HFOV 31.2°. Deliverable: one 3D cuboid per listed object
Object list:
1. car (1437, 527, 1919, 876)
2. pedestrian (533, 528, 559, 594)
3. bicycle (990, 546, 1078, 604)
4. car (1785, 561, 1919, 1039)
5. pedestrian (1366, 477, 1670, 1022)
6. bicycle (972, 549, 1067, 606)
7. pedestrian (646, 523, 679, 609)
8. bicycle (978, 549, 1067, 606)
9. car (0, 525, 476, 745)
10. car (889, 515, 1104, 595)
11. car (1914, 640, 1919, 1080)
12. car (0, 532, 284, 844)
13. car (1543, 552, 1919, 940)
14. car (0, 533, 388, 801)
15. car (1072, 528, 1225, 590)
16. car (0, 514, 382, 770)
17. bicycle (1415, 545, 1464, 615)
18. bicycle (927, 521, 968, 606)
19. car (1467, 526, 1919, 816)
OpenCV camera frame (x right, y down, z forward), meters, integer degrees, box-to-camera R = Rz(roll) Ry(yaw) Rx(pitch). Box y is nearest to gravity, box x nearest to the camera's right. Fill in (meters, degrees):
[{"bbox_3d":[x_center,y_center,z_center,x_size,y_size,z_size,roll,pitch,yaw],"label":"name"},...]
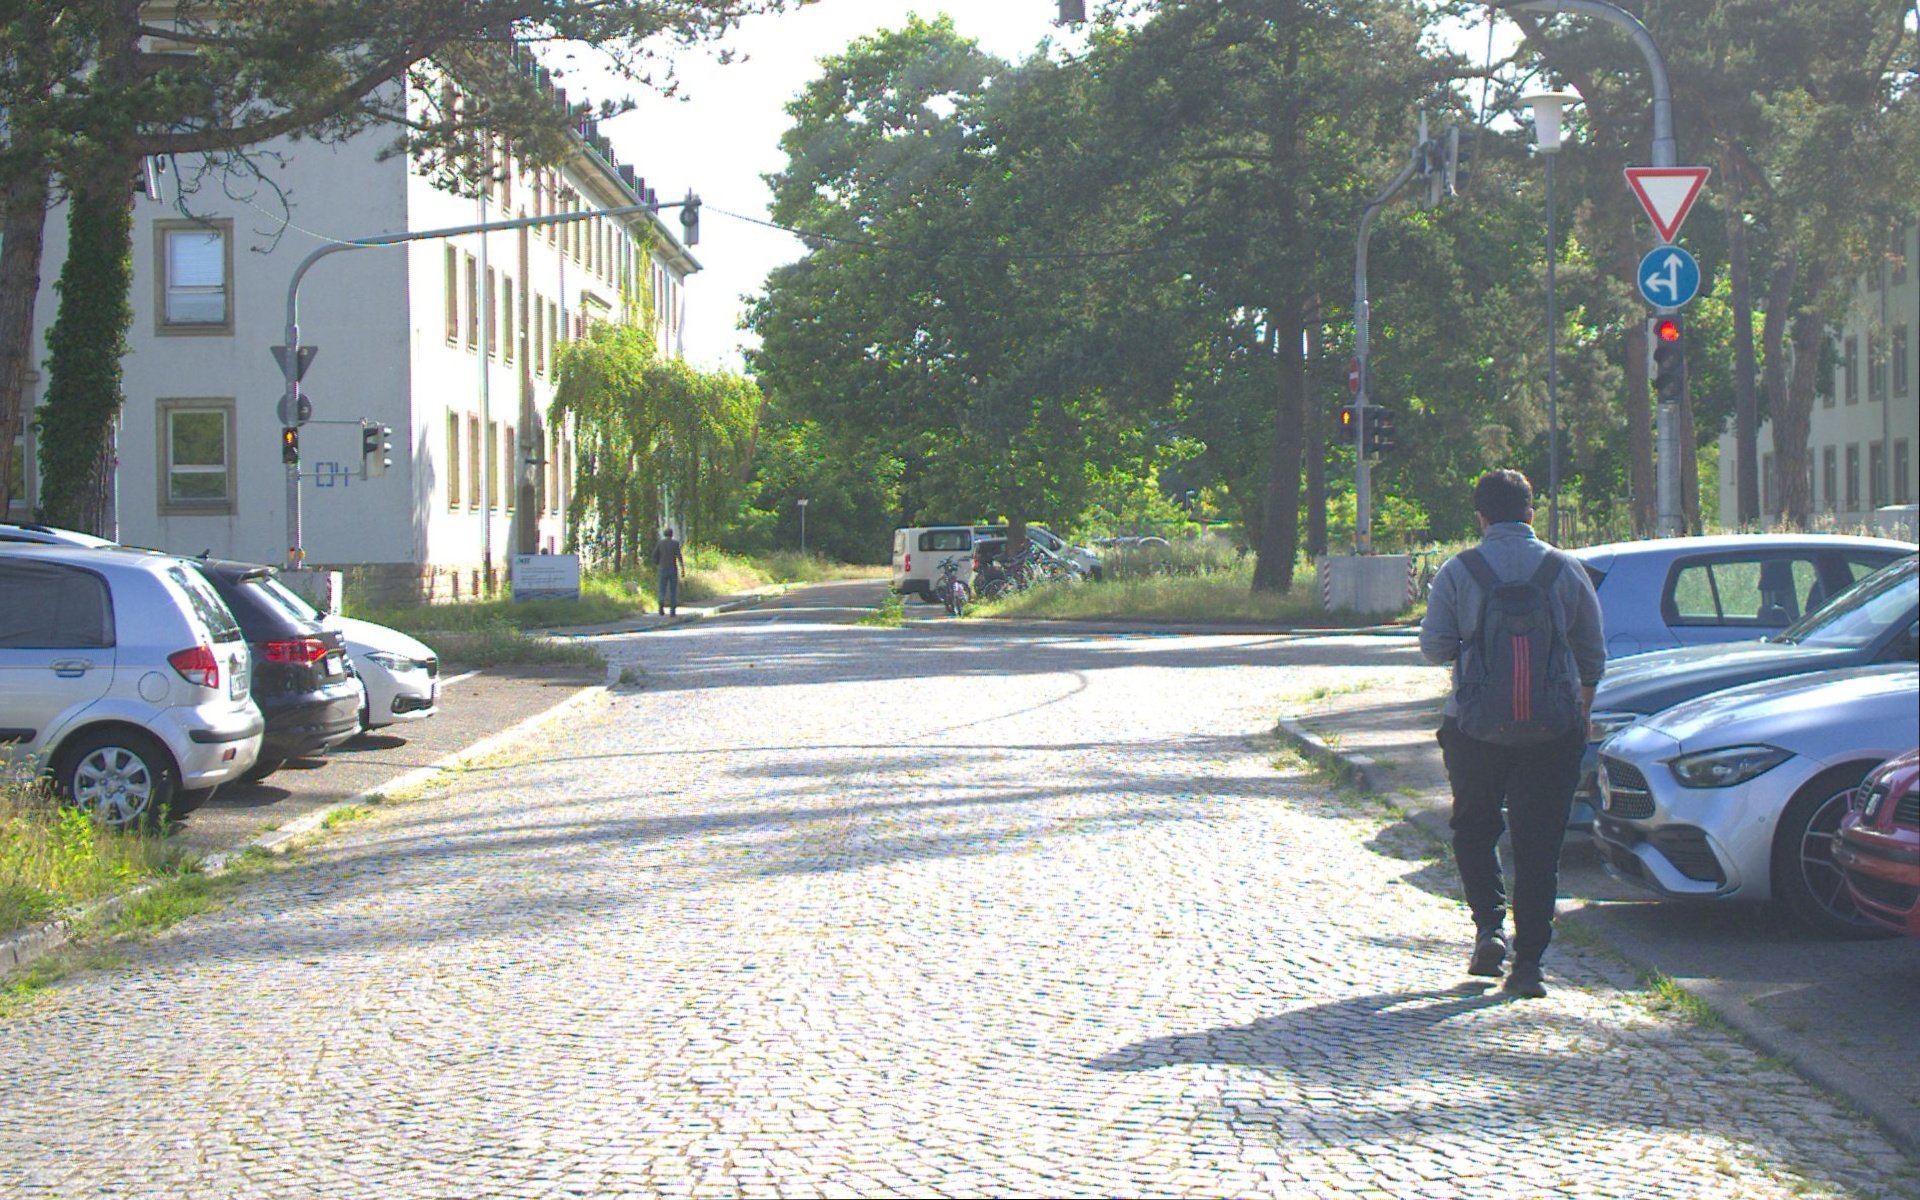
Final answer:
[{"bbox_3d":[4.764,0.384,16.377,4.619,1.450,1.870,-3,1,-2],"label":"car"},{"bbox_3d":[-9.854,-0.928,81.918,0.606,1.554,0.545,0,1,-6],"label":"pedestrian"},{"bbox_3d":[1.479,-0.506,69.108,1.727,1.160,0.561,-1,1,-3],"label":"bicycle"},{"bbox_3d":[4.918,0.569,11.317,3.979,1.443,1.656,-1,1,0],"label":"car"},{"bbox_3d":[1.859,0.478,11.578,0.753,1.719,0.828,4,1,0],"label":"pedestrian"},{"bbox_3d":[1.177,-0.445,67.885,1.834,1.108,0.495,-1,1,-3],"label":"bicycle"},{"bbox_3d":[-6.072,-0.697,70.180,0.607,1.746,0.630,0,1,-1],"label":"pedestrian"},{"bbox_3d":[1.244,-0.455,68.429,1.727,1.108,0.484,-1,1,-3],"label":"bicycle"},{"bbox_3d":[-5.878,0.231,26.269,3.987,1.491,1.772,2,1,5],"label":"car"},{"bbox_3d":[0.891,-1.131,85.782,5.065,1.911,2.001,-1,1,-9],"label":"car"},{"bbox_3d":[4.422,0.742,8.934,3.460,1.238,1.536,0,1,1],"label":"car"},{"bbox_3d":[-5.579,0.395,18.149,3.685,1.522,1.699,2,1,-2],"label":"car"},{"bbox_3d":[4.701,0.488,13.693,4.399,1.384,1.789,-2,1,-1],"label":"car"},{"bbox_3d":[-5.596,0.335,20.812,3.937,1.440,1.691,3,1,-1],"label":"car"},{"bbox_3d":[4.898,-1.082,89.675,3.743,1.574,1.742,0,1,-7],"label":"car"},{"bbox_3d":[-6.049,0.238,23.525,3.879,1.610,1.661,2,1,-1],"label":"car"},{"bbox_3d":[7.813,-0.338,55.936,0.722,1.111,2.582,0,1,10],"label":"bicycle"},{"bbox_3d":[-0.238,-0.698,64.431,0.753,1.575,2.537,0,1,-1],"label":"bicycle"},{"bbox_3d":[4.769,0.338,18.914,3.673,1.438,1.665,-2,1,0],"label":"car"}]
